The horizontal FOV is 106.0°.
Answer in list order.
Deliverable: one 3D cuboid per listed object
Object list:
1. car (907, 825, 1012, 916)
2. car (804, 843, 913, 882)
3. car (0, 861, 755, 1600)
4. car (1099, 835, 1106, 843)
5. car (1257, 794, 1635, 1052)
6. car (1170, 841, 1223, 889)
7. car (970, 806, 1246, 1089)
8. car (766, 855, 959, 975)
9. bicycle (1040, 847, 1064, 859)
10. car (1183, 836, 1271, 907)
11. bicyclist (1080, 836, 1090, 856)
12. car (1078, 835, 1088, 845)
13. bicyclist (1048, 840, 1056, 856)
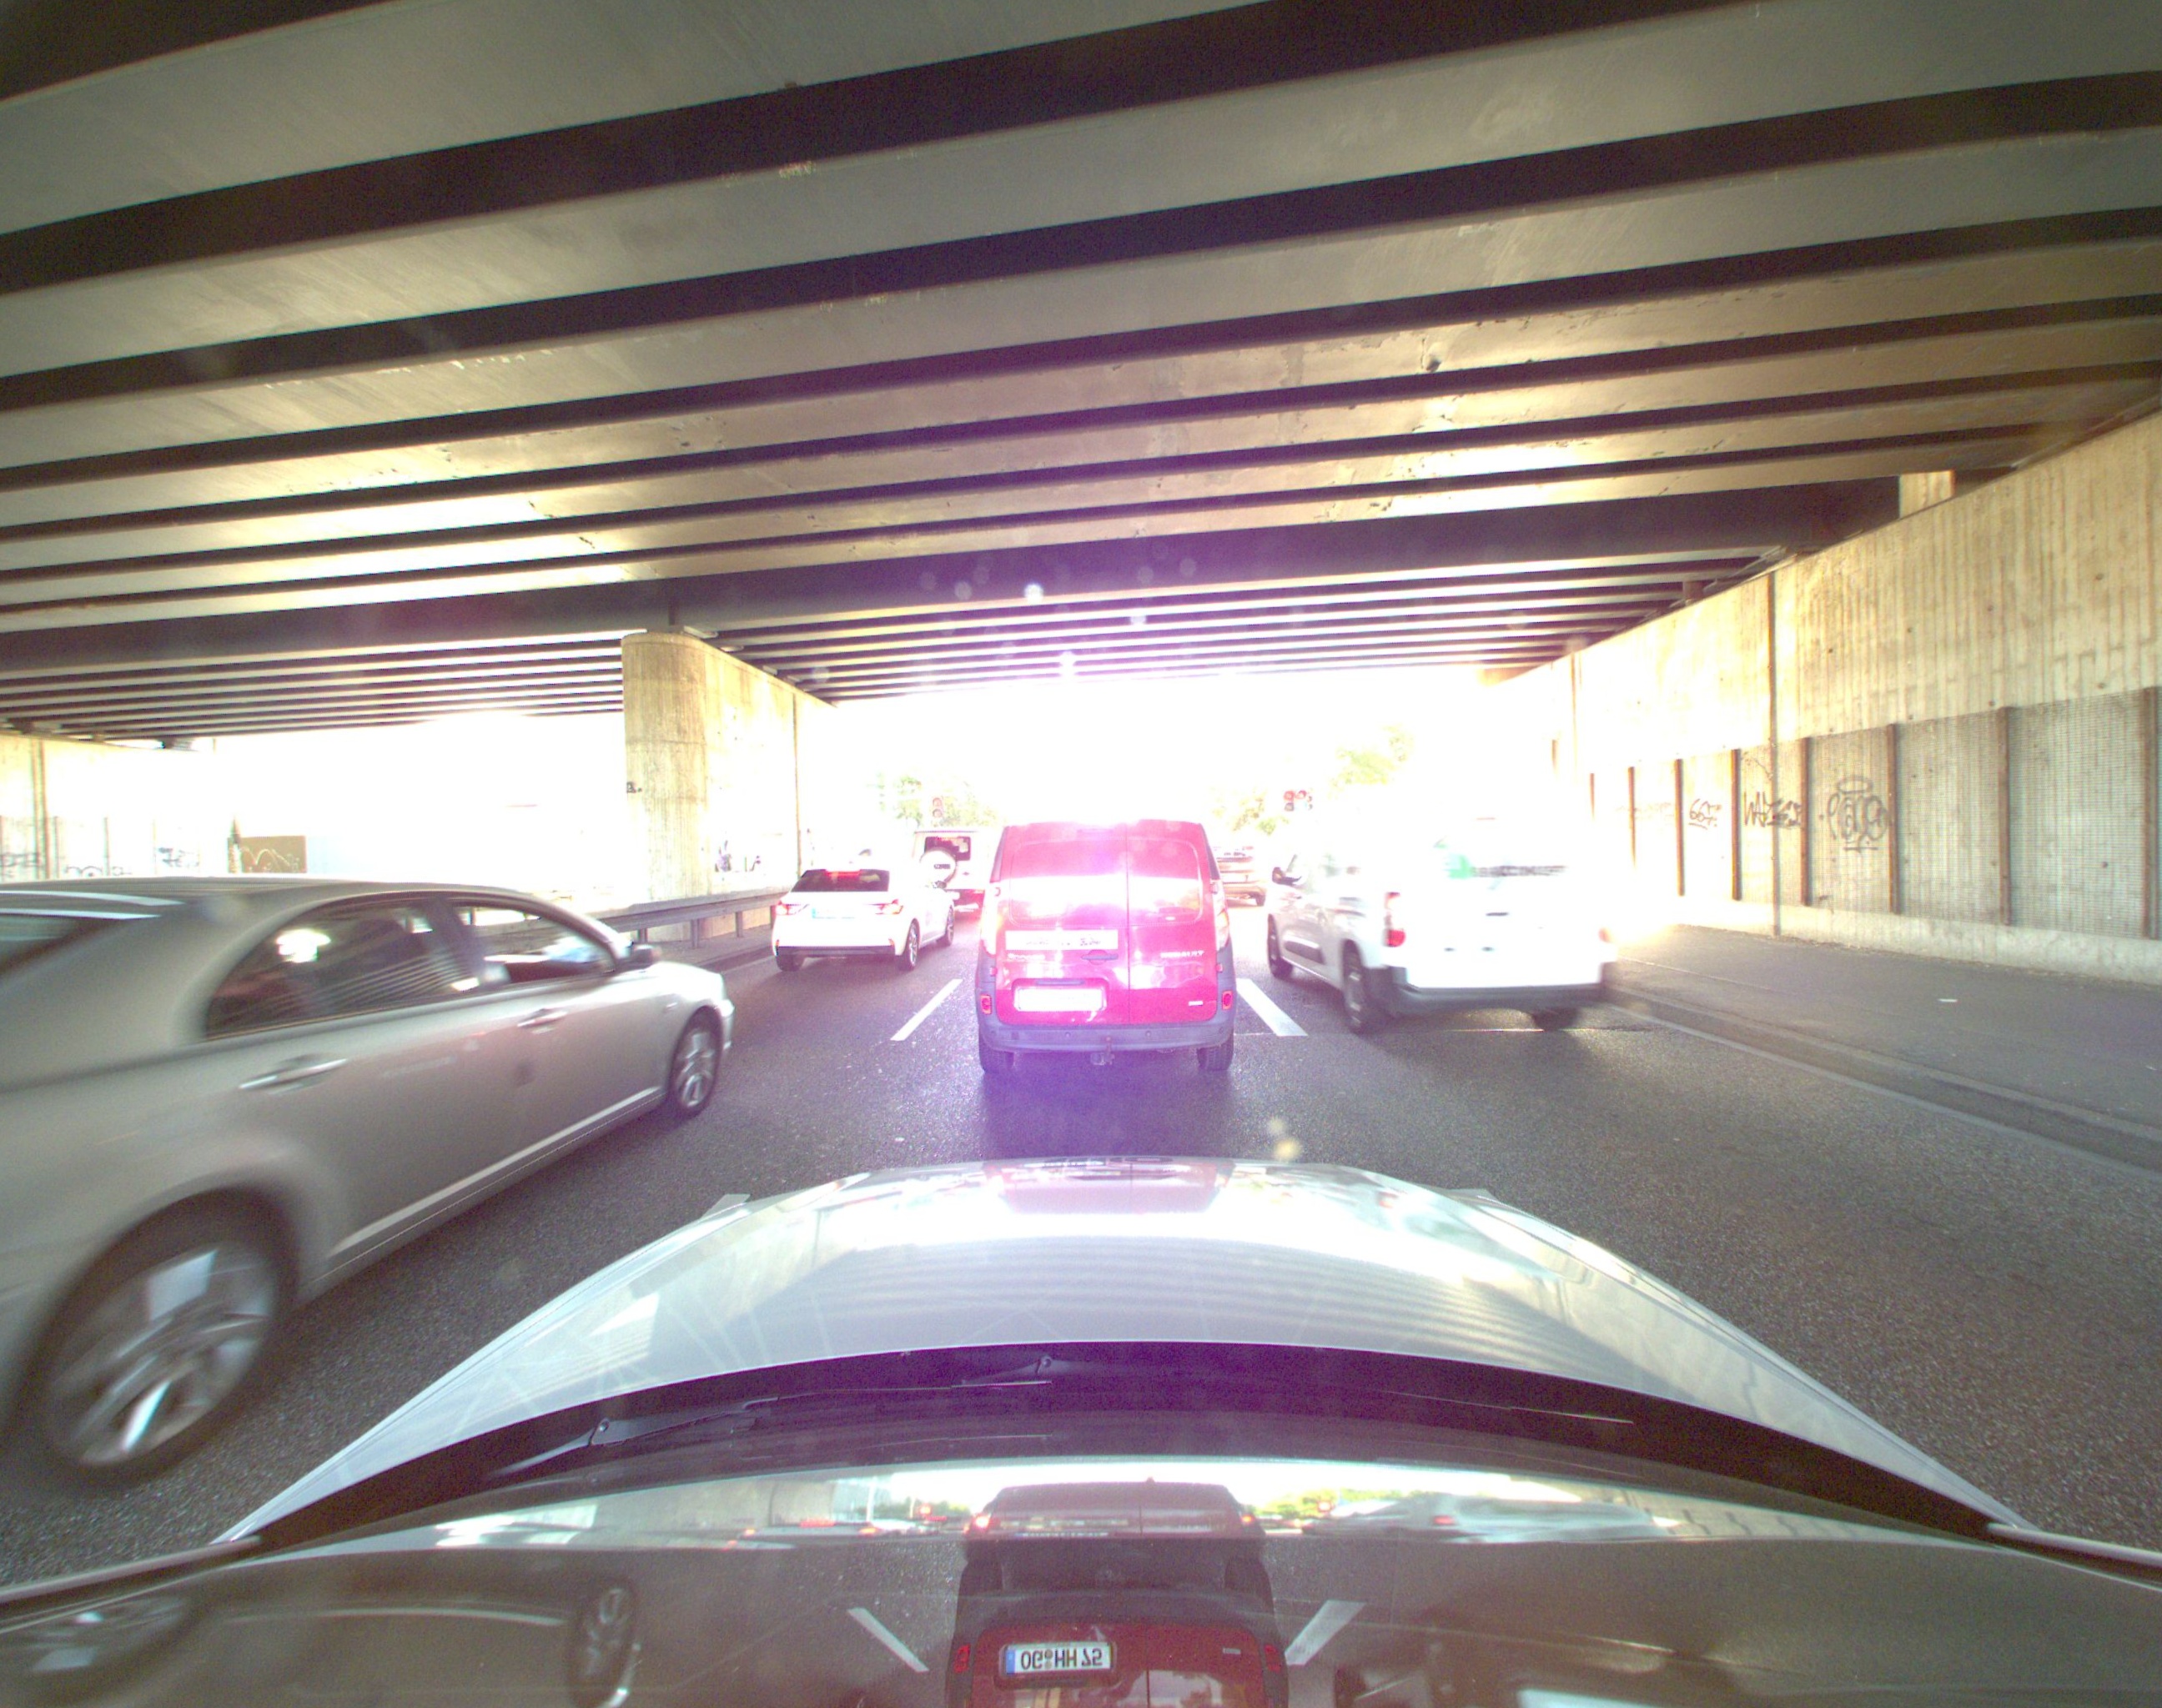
[{"bbox_3d":[-2.717,0.340,19.043,1.807,1.904,3.814,0,0,1],"label":"car"},{"bbox_3d":[-9.871,0.374,36.437,1.974,1.607,4.388,0,-1,38],"label":"car"},{"bbox_3d":[-3.034,0.783,3.239,1.691,1.455,4.397,0,0,0],"label":"car"},{"bbox_3d":[5.855,-4.030,220.896,1.986,2.014,4.001,0,0,2],"label":"car"},{"bbox_3d":[3.074,0.473,7.973,1.807,1.833,4.300,0,0,0],"label":"car"},{"bbox_3d":[3.950,0.321,28.372,1.644,1.552,3.870,0,1,5],"label":"car"},{"bbox_3d":[0.229,0.581,7.099,1.712,1.764,4.002,0,0,2],"label":"car"},{"bbox_3d":[-2.912,0.732,11.695,1.687,1.410,3.814,0,0,1],"label":"car"},{"bbox_3d":[-2.283,-0.061,64.381,1.908,0.867,0.605,-1,0,-2],"label":"bicycle"},{"bbox_3d":[3.692,0.399,21.216,1.770,1.655,3.994,-1,0,3],"label":"car"},{"bbox_3d":[0.295,-0.609,64.086,0.752,1.542,0.697,-1,0,2],"label":"bicyclist"},{"bbox_3d":[0.426,-3.001,172.890,1.986,2.014,4.001,0,0,2],"label":"car"},{"bbox_3d":[-2.297,-0.470,64.381,0.651,1.329,0.602,0,-1,-2],"label":"bicyclist"}]
